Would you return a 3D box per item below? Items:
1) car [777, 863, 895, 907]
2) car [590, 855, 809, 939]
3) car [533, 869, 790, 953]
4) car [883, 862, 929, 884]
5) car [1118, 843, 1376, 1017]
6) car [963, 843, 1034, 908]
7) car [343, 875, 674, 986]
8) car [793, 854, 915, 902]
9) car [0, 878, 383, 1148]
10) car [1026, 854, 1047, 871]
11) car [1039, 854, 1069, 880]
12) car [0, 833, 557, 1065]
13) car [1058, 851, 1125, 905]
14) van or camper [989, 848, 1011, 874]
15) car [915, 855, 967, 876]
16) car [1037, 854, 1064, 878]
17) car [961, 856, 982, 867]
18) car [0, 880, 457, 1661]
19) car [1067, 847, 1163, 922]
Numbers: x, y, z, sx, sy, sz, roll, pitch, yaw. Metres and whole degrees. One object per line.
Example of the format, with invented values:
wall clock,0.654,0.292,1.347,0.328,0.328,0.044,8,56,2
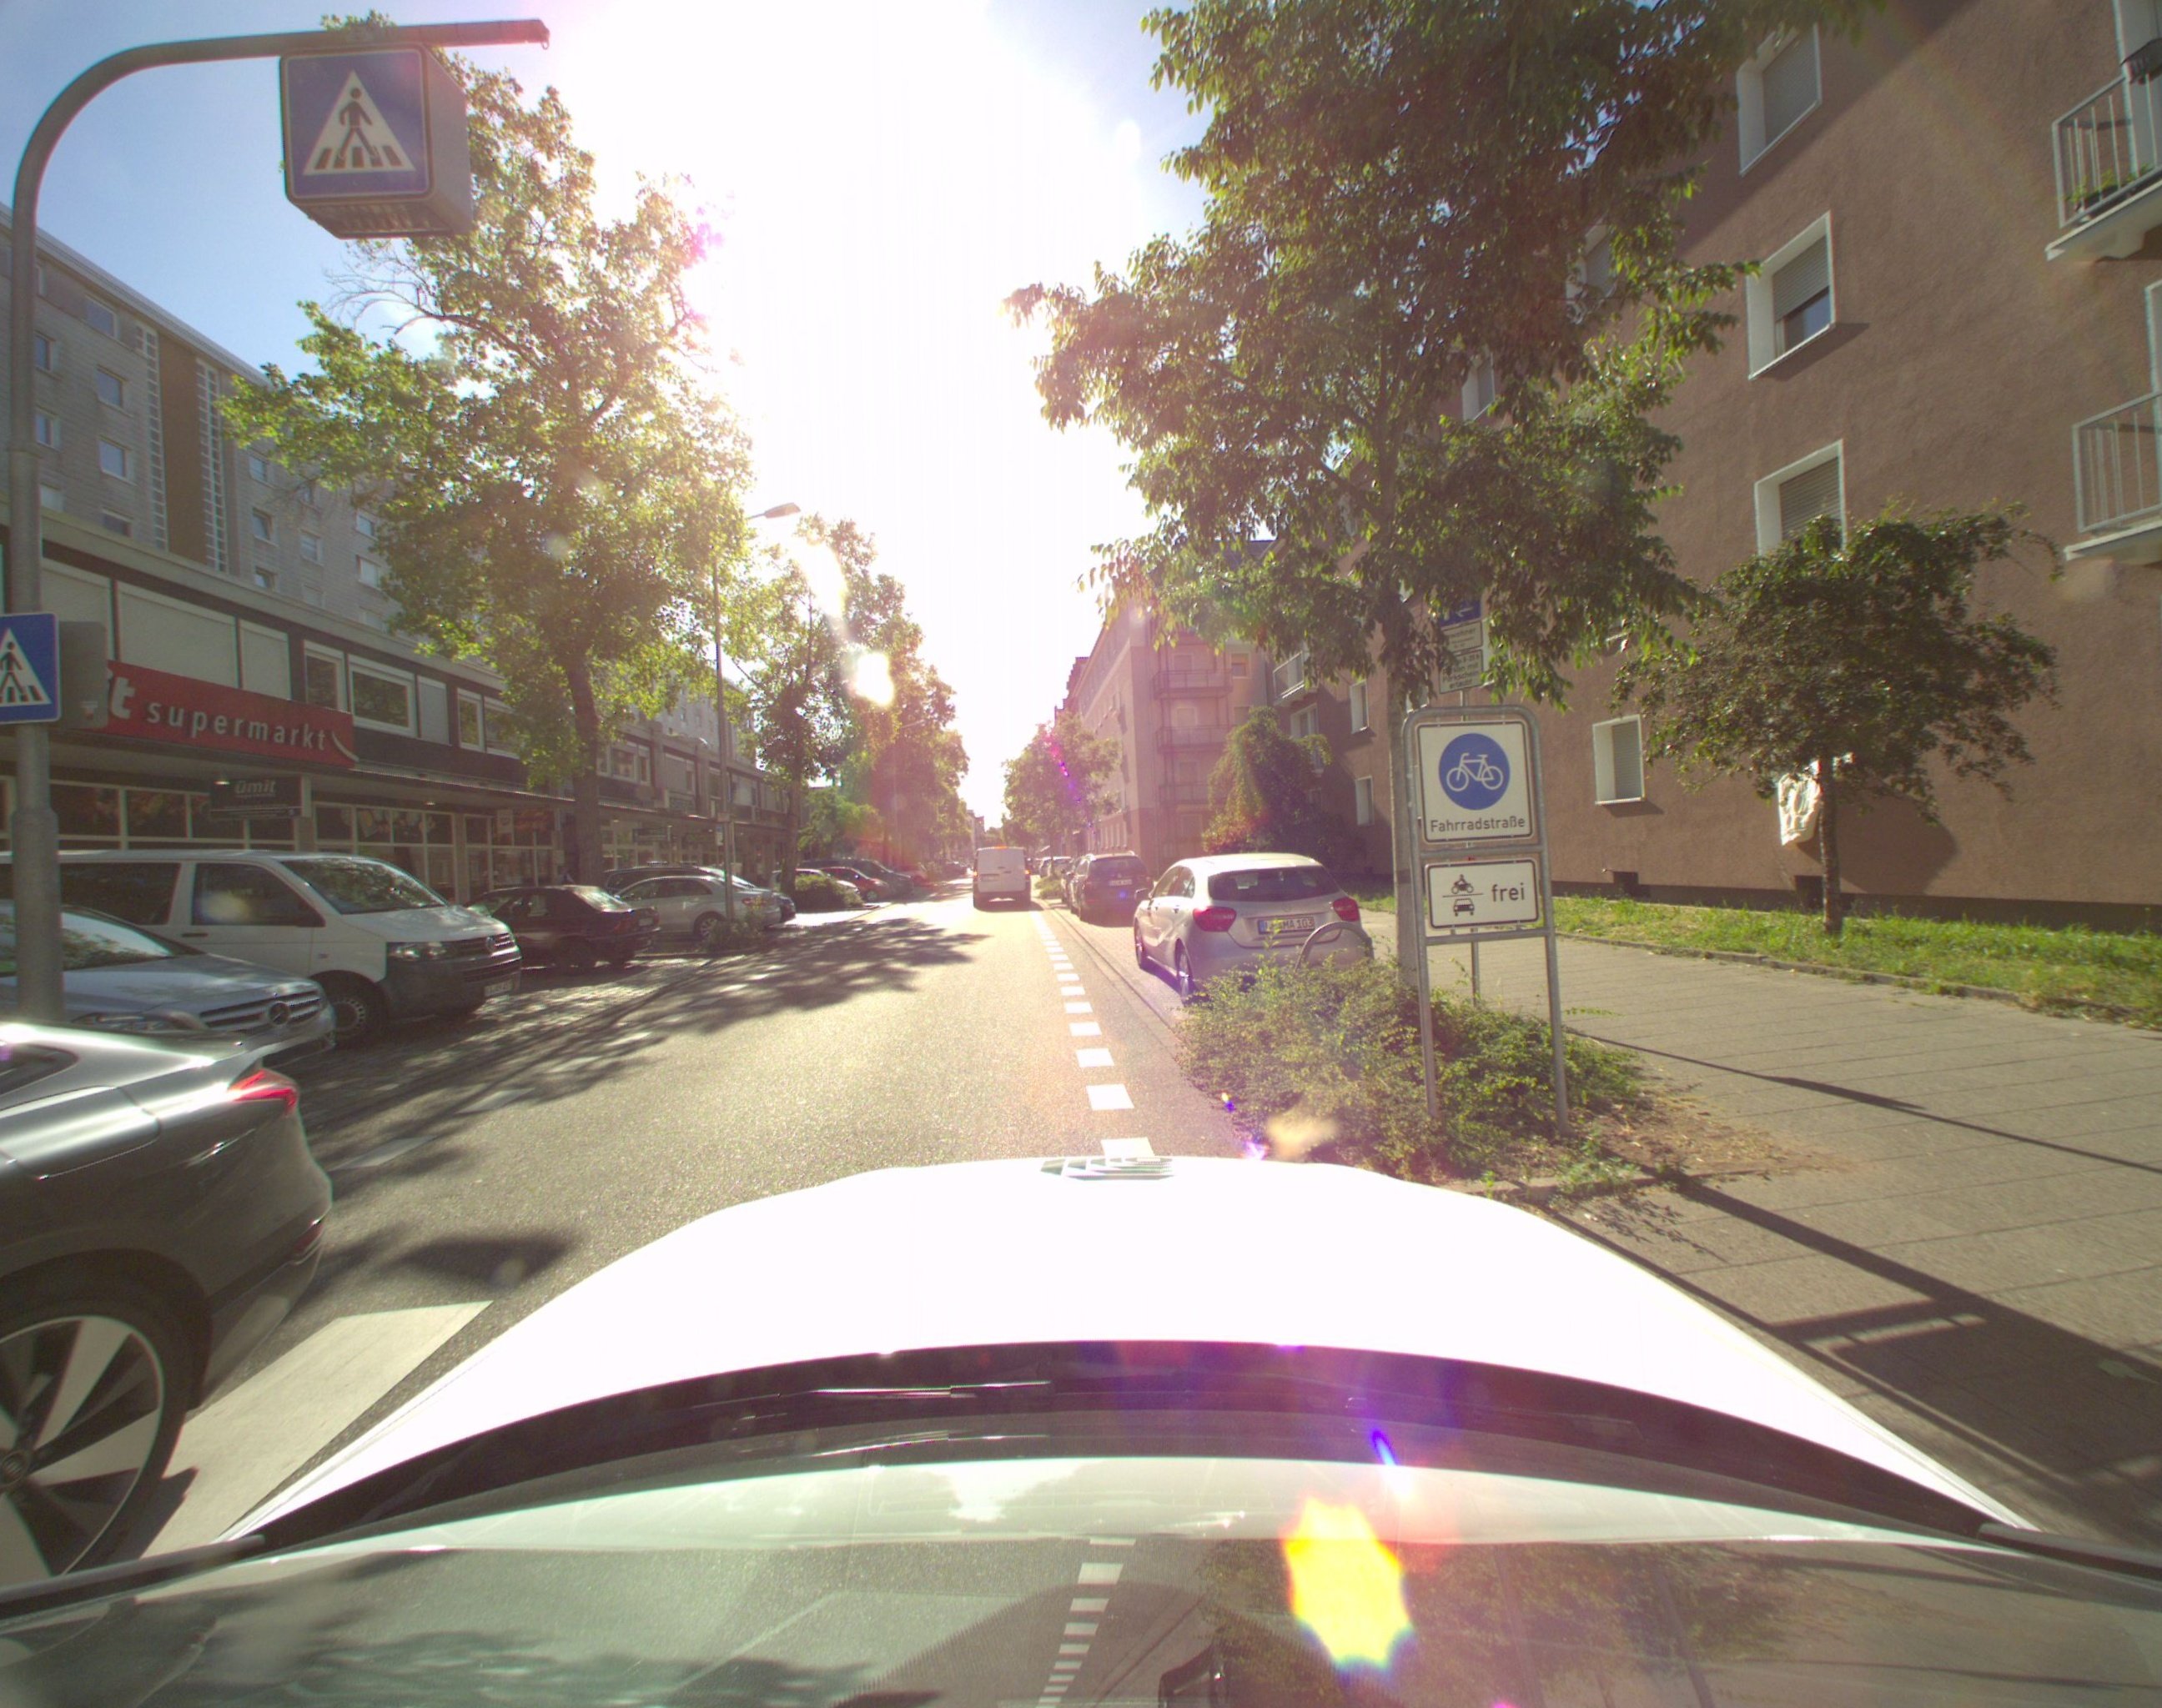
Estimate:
car,-10.605,1.306,35.531,4.621,1.610,1.658,-3,1,-7
car,-9.595,1.041,20.797,4.621,1.804,1.833,-3,0,-7
car,-9.171,1.216,18.161,4.651,1.494,1.823,-3,0,-7
car,-13.064,1.404,60.948,3.096,1.409,1.658,-3,0,-7
car,1.596,0.684,9.372,1.737,1.454,4.147,-3,0,-5
car,-2.815,0.659,27.967,2.098,1.907,5.414,-3,0,-6
car,-9.133,1.173,13.306,4.025,1.494,1.713,-2,0,-7
car,-10.534,1.092,38.131,5.207,1.981,1.658,-3,0,-7
car,-8.119,1.126,5.921,4.285,1.612,1.754,-3,0,-7
car,-4.182,0.791,76.092,1.737,1.519,3.852,-3,0,-4
car,-1.768,0.820,52.584,1.737,1.519,3.852,-3,0,-4
car,-8.548,0.864,8.504,4.726,2.006,1.955,-2,0,-8
car,0.270,0.711,26.069,1.737,1.519,3.852,-3,0,-4
van or camper,-8.270,0.721,83.420,1.990,2.475,5.810,-4,0,-5
car,-14.682,1.213,85.754,5.207,1.981,1.658,-3,0,-7
car,-2.217,0.837,58.049,1.737,1.519,3.852,-3,0,-4
car,-21.914,1.555,163.144,3.987,2.013,1.993,-3,0,-10
car,-3.019,0.870,0.403,1.904,1.453,4.574,-4,0,-2
car,0.692,0.653,19.742,1.780,1.519,4.302,-3,0,-4
